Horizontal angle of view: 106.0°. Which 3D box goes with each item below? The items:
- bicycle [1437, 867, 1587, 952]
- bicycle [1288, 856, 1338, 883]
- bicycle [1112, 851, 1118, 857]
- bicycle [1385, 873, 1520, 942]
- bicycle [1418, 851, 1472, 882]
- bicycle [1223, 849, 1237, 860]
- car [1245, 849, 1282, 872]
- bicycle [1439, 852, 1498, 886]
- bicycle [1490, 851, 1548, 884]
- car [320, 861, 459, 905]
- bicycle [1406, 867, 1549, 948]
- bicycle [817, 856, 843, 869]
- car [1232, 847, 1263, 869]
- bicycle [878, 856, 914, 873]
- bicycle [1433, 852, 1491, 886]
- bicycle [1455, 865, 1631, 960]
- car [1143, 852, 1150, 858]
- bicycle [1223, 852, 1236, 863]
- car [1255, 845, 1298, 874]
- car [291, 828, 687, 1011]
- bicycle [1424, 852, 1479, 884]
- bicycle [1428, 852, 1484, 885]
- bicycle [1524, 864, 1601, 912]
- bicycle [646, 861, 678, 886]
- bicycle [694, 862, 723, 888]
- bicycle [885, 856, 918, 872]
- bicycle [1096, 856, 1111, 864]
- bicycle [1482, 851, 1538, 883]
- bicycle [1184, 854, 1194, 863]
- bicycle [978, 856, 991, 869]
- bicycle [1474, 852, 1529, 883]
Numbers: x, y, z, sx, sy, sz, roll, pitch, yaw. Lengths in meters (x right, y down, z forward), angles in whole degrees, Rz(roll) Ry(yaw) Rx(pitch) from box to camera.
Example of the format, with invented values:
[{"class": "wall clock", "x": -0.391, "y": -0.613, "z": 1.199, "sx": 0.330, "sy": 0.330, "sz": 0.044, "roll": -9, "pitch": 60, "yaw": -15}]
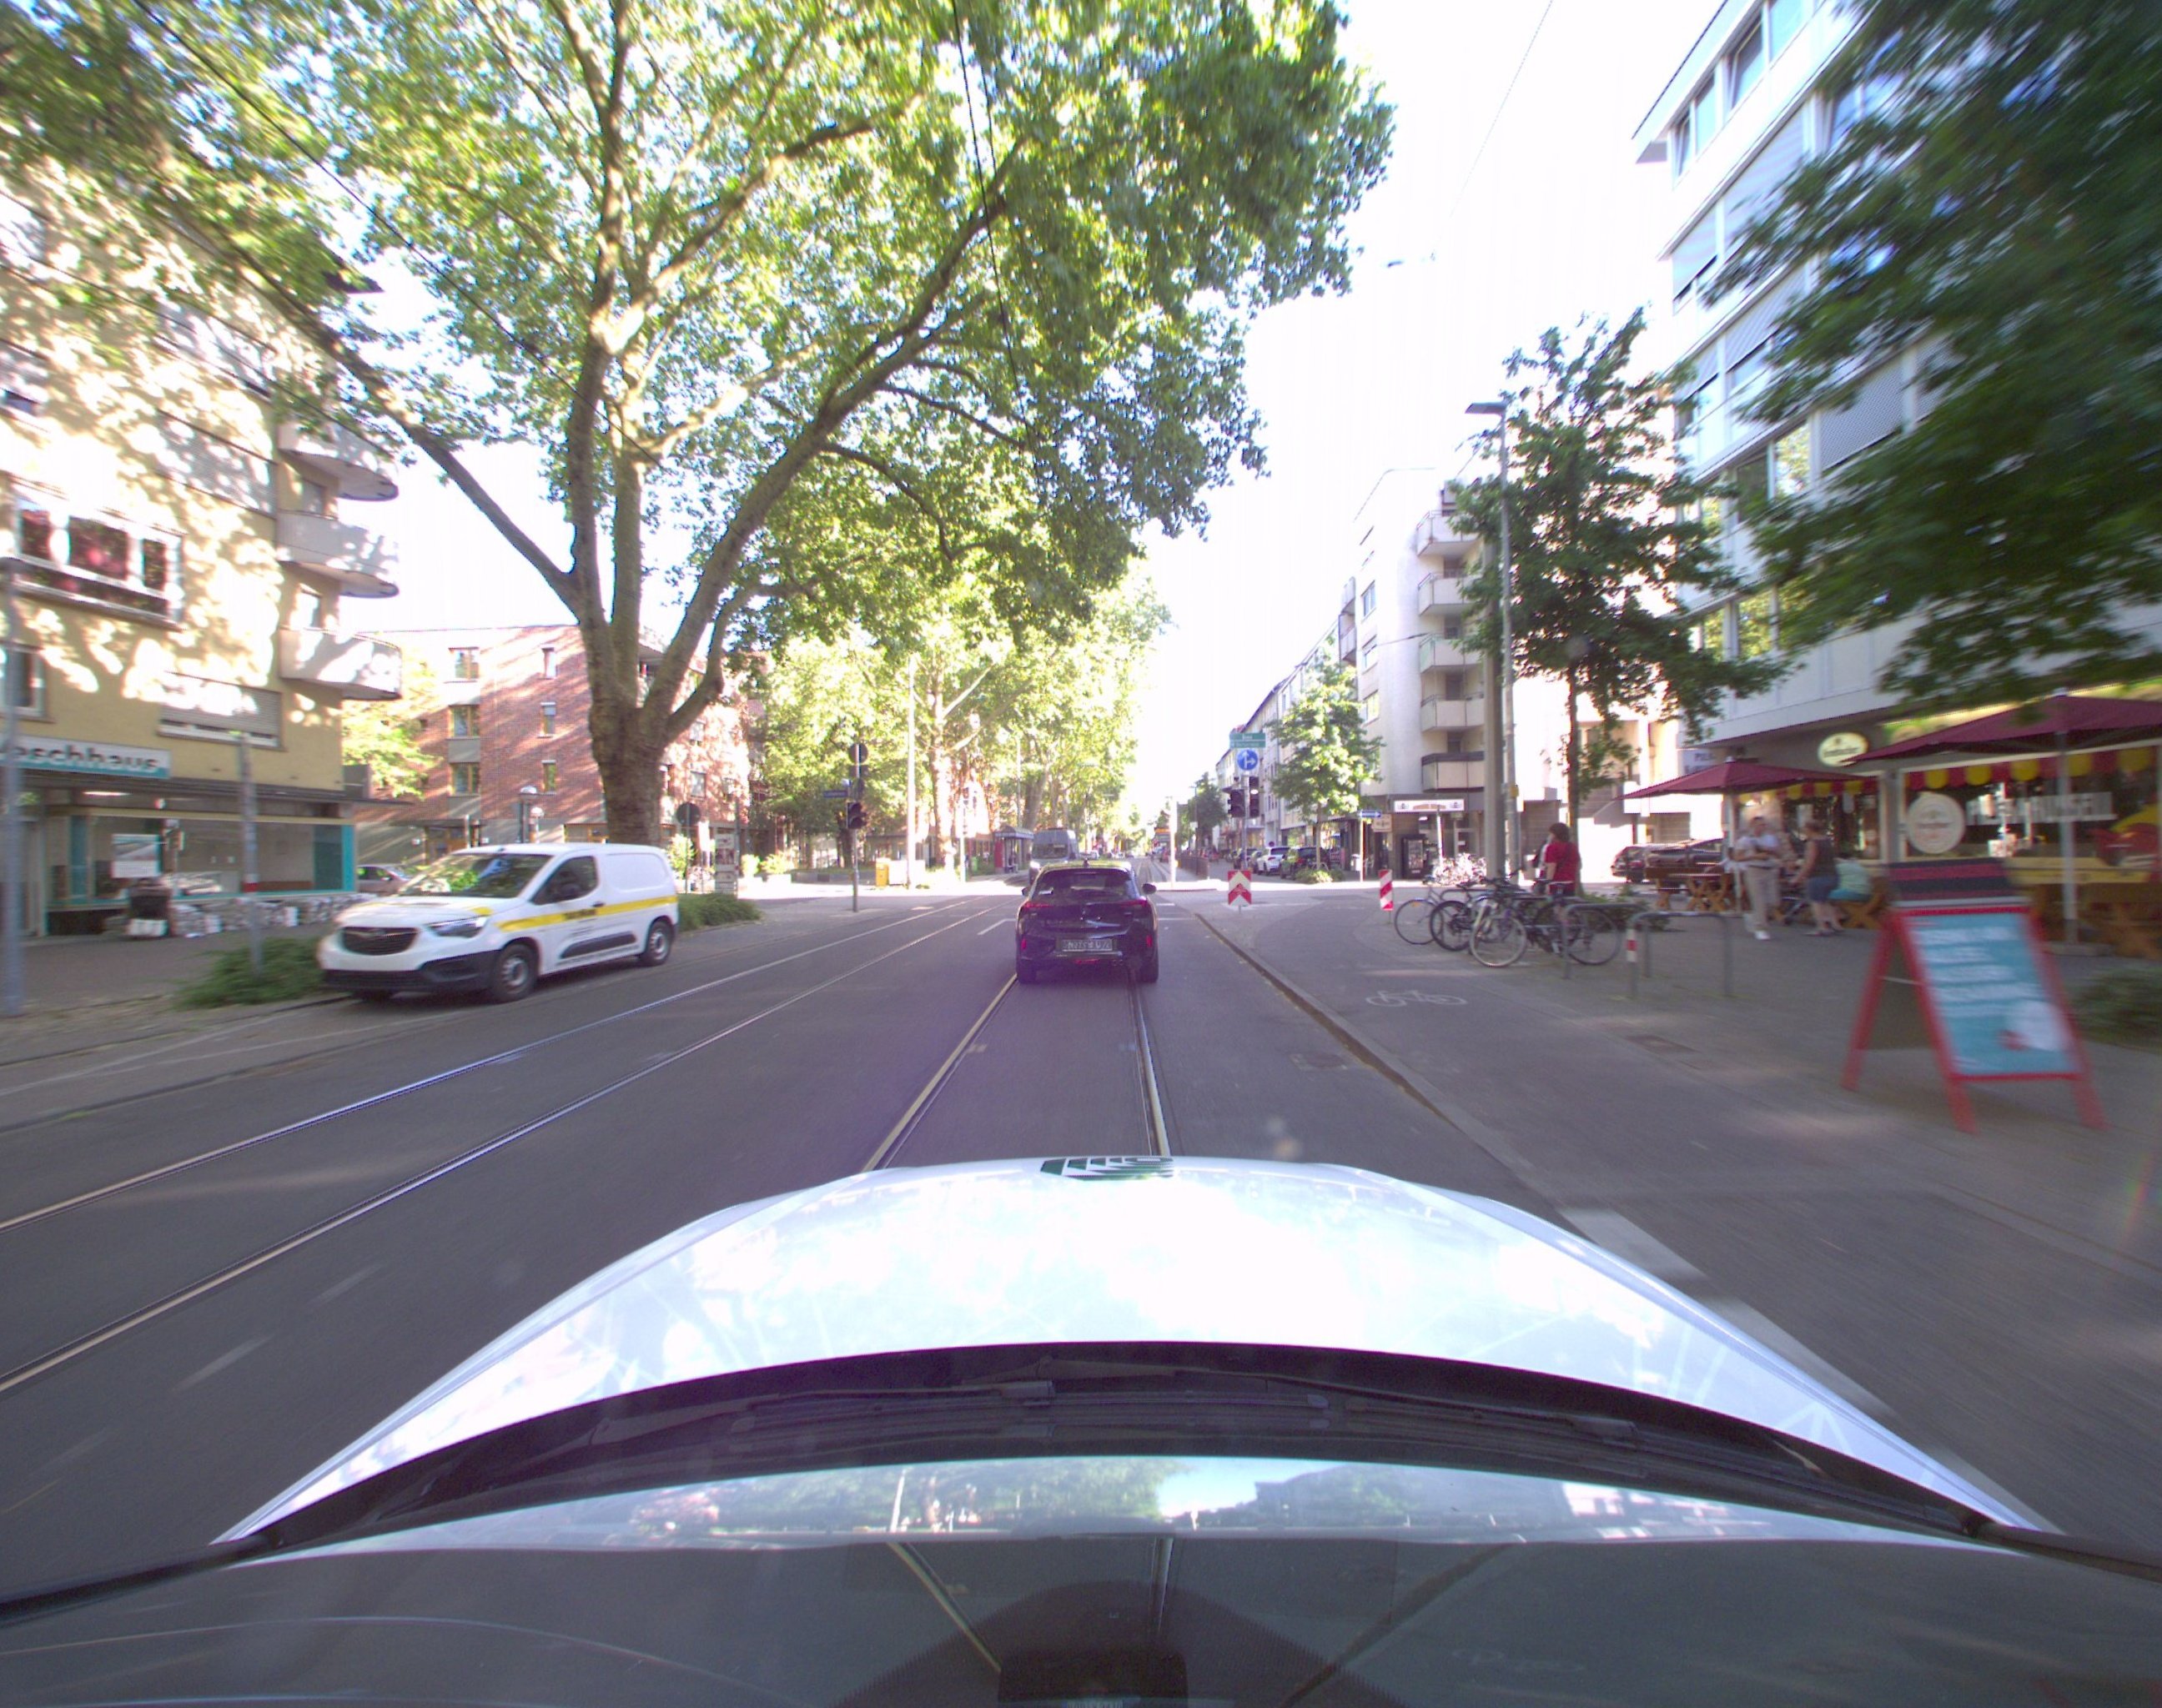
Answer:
[{"class": "bicycle", "x": 5.757, "y": 0.723, "z": 10.913, "sx": 1.812, "sy": 1.100, "sz": 0.480, "roll": 0, "pitch": -1, "yaw": -5}, {"class": "bicycle", "x": 10.517, "y": 0.685, "z": 36.963, "sx": 2.112, "sy": 1.187, "sz": 0.683, "roll": 0, "pitch": -1, "yaw": 12}, {"class": "bicycle", "x": 7.270, "y": 0.026, "z": 175.672, "sx": 0.950, "sy": 1.240, "sz": 2.984, "roll": 0, "pitch": 0, "yaw": 7}, {"class": "bicycle", "x": 5.564, "y": 0.796, "z": 12.247, "sx": 1.808, "sy": 0.994, "sz": 0.481, "roll": 0, "pitch": -1, "yaw": 1}, {"class": "bicycle", "x": 14.341, "y": 0.503, "z": 32.130, "sx": 1.907, "sy": 1.208, "sz": 0.511, "roll": 0, "pitch": -1, "yaw": 0}, {"class": "bicycle", "x": 16.199, "y": 0.090, "z": 88.682, "sx": 0.610, "sy": 1.136, "sz": 2.914, "roll": 0, "pitch": 0, "yaw": -7}, {"class": "car", "x": 11.793, "y": 0.395, "z": 52.794, "sx": 1.736, "sy": 1.440, "sz": 4.252, "roll": 0, "pitch": 0, "yaw": 4}, {"class": "bicycle", "x": 14.246, "y": 0.555, "z": 29.952, "sx": 1.907, "sy": 1.207, "sz": 0.511, "roll": -1, "pitch": 1, "yaw": 0}, {"class": "bicycle", "x": 16.391, "y": 0.517, "z": 30.519, "sx": 1.907, "sy": 1.207, "sz": 0.511, "roll": 0, "pitch": 1, "yaw": 0}, {"class": "car", "x": -27.804, "y": 1.143, "z": 32.848, "sx": 3.970, "sy": 1.662, "sz": 1.962, "roll": -1, "pitch": -1, "yaw": 3}, {"class": "bicycle", "x": 5.580, "y": 0.740, "z": 11.496, "sx": 1.812, "sy": 1.100, "sz": 0.497, "roll": 0, "pitch": -1, "yaw": -5}, {"class": "bicycle", "x": -20.566, "y": 0.682, "z": 66.767, "sx": 1.941, "sy": 1.073, "sz": 0.762, "roll": 0, "pitch": -1, "yaw": -12}, {"class": "car", "x": 12.890, "y": 0.314, "z": 63.324, "sx": 1.848, "sy": 1.615, "sz": 4.403, "roll": 0, "pitch": 0, "yaw": 4}, {"class": "bicycle", "x": -13.845, "y": 0.765, "z": 60.944, "sx": 2.447, "sy": 1.219, "sz": 0.683, "roll": 1, "pitch": -1, "yaw": 4}, {"class": "bicycle", "x": 14.253, "y": 0.548, "z": 30.485, "sx": 1.907, "sy": 1.207, "sz": 0.511, "roll": -1, "pitch": 1, "yaw": 0}, {"class": "bicycle", "x": 5.575, "y": 0.697, "z": 9.889, "sx": 1.807, "sy": 1.100, "sz": 0.526, "roll": -1, "pitch": -1, "yaw": 3}, {"class": "car", "x": 18.010, "y": 0.294, "z": 222.686, "sx": 1.738, "sy": 1.544, "sz": 4.003, "roll": 0, "pitch": 0, "yaw": 3}, {"class": "bicycle", "x": 15.235, "y": 0.325, "z": 83.424, "sx": 0.620, "sy": 1.136, "sz": 2.433, "roll": 0, "pitch": 0, "yaw": -7}, {"class": "car", "x": 11.316, "y": 0.321, "z": 47.350, "sx": 1.791, "sy": 1.606, "sz": 4.420, "roll": 0, "pitch": 0, "yaw": 4}, {"class": "car", "x": -7.058, "y": 0.672, "z": 10.425, "sx": 1.756, "sy": 1.851, "sz": 4.321, "roll": 0, "pitch": 0, "yaw": 2}, {"class": "bicycle", "x": 14.356, "y": 0.539, "z": 31.573, "sx": 1.907, "sy": 1.207, "sz": 0.511, "roll": -1, "pitch": 0, "yaw": 0}, {"class": "bicycle", "x": 14.270, "y": 0.549, "z": 31.020, "sx": 1.907, "sy": 1.207, "sz": 0.511, "roll": -1, "pitch": 0, "yaw": 0}, {"class": "bicycle", "x": 10.417, "y": 0.712, "z": 17.693, "sx": 0.673, "sy": 0.963, "sz": 2.026, "roll": 0, "pitch": 0, "yaw": 6}, {"class": "bicycle", "x": -19.397, "y": 0.902, "z": 37.737, "sx": 0.539, "sy": 1.084, "sz": 1.640, "roll": 0, "pitch": 1, "yaw": 3}, {"class": "bicycle", "x": -17.102, "y": 0.947, "z": 37.453, "sx": 0.539, "sy": 1.084, "sz": 1.538, "roll": 0, "pitch": 2, "yaw": 3}, {"class": "bicycle", "x": -13.496, "y": 0.732, "z": 61.343, "sx": 2.329, "sy": 1.166, "sz": 0.683, "roll": 1, "pitch": -1, "yaw": 4}, {"class": "bicycle", "x": 3.752, "y": 0.959, "z": 134.508, "sx": 2.473, "sy": 1.240, "sz": 0.957, "roll": 0, "pitch": -1, "yaw": -2}, {"class": "bicycle", "x": 16.396, "y": 0.491, "z": 31.133, "sx": 1.907, "sy": 1.208, "sz": 0.511, "roll": 0, "pitch": -1, "yaw": 0}, {"class": "bicycle", "x": 13.545, "y": 0.547, "z": 102.049, "sx": 0.858, "sy": 1.136, "sz": 2.394, "roll": 0, "pitch": 0, "yaw": -2}, {"class": "bicycle", "x": -8.800, "y": 0.772, "z": 74.611, "sx": 0.779, "sy": 1.111, "sz": 2.597, "roll": 0, "pitch": 0, "yaw": 2}, {"class": "bicycle", "x": 16.411, "y": 0.521, "z": 31.797, "sx": 1.907, "sy": 1.208, "sz": 0.511, "roll": 0, "pitch": -1, "yaw": 0}]
